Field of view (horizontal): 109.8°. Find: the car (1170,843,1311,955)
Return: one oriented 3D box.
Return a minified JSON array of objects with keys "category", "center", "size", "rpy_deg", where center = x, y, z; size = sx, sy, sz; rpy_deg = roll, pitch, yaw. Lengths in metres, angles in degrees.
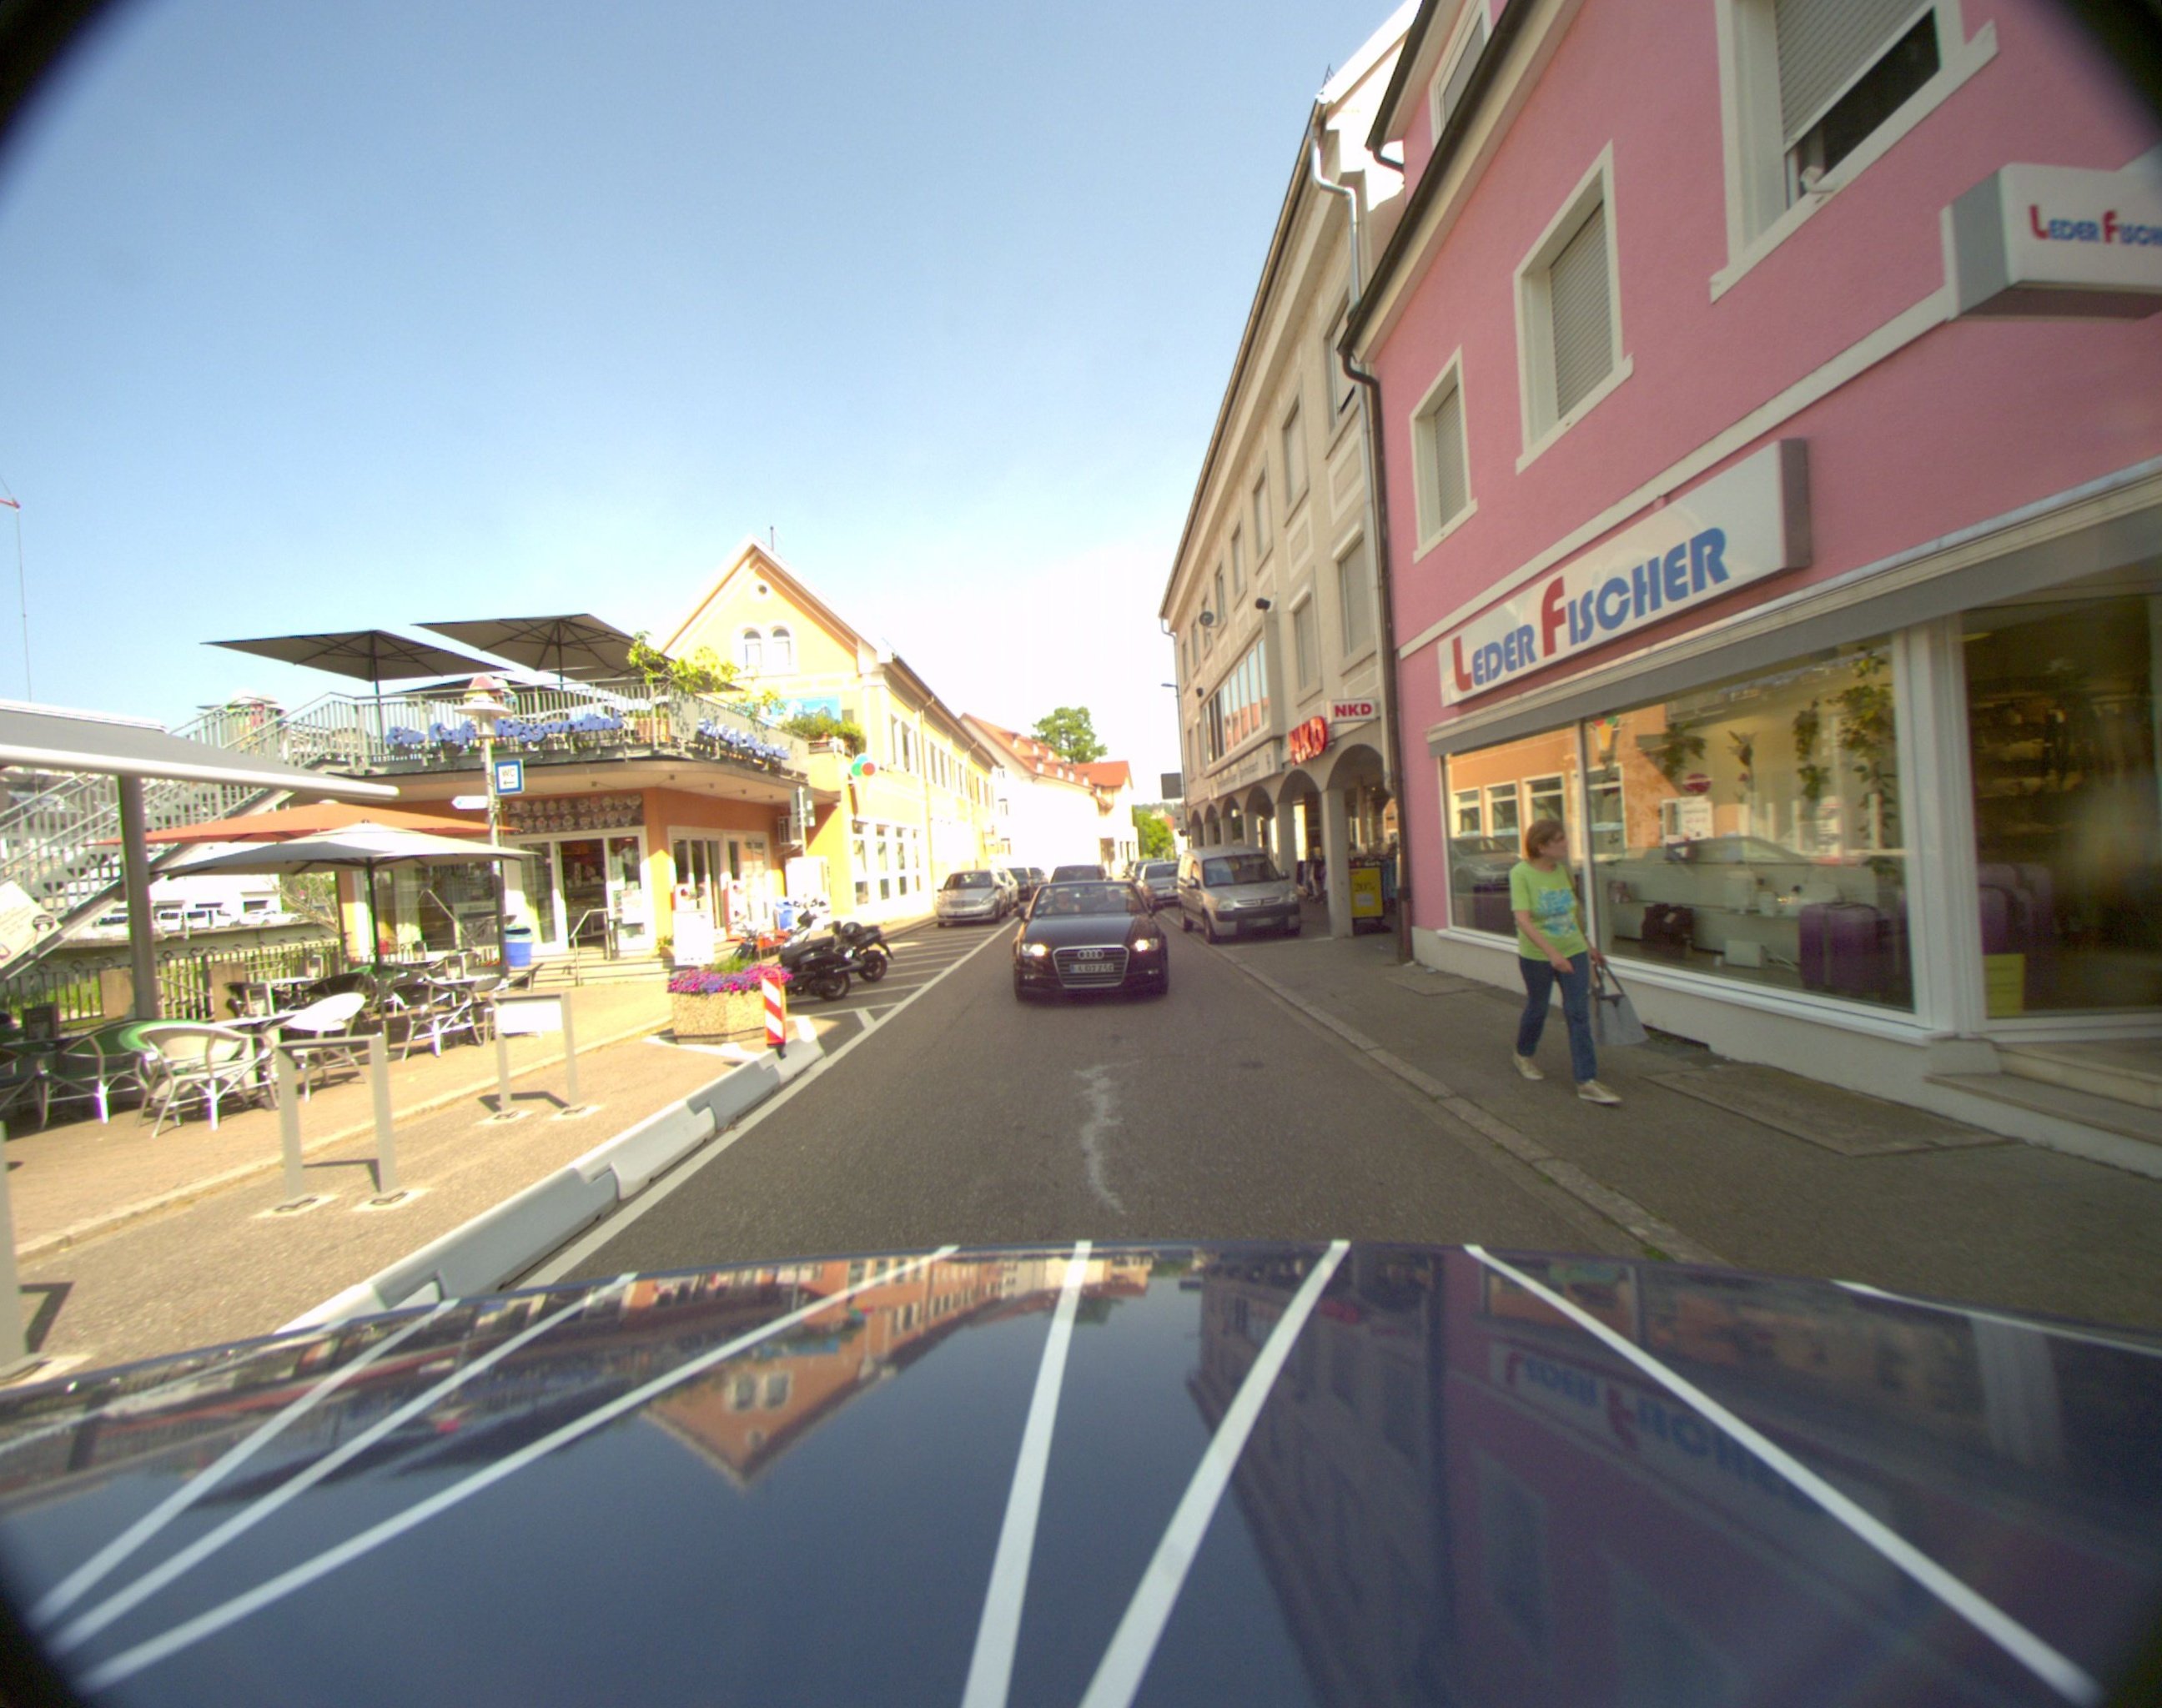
[{"category":"car","center":[2.927,0.776,14.850],"size":[1.711,1.729,4.146],"rpy_deg":[-5,0,-1]}]

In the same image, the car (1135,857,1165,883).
[{"category":"car","center":[4.953,1.103,53.986],"size":[1.682,1.658,3.974],"rpy_deg":[-3,0,10]}]

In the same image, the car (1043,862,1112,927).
[{"category":"car","center":[-0.022,1.066,21.419],"size":[1.683,1.551,3.972],"rpy_deg":[-3,0,2]}]

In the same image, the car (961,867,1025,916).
[{"category":"car","center":[-3.226,1.342,28.453],"size":[1.683,1.549,4.104],"rpy_deg":[-4,0,2]}]

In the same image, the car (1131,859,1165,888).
[{"category":"car","center":[3.939,1.106,45.265],"size":[1.769,1.551,3.972],"rpy_deg":[-3,0,2]}]

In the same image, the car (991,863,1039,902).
[{"category":"car","center":[-3.023,1.303,35.754],"size":[1.683,1.635,4.252],"rpy_deg":[-2,0,2]}]

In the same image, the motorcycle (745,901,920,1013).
[{"category":"motorcycle","center":[-3.472,1.370,10.707],"size":[2.094,1.262,0.927],"rpy_deg":[-3,0,-39]}]

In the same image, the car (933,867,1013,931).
[{"category":"car","center":[-3.162,1.276,23.132],"size":[1.750,1.587,4.594],"rpy_deg":[-4,0,-1]}]

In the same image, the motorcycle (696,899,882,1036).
[{"category":"motorcycle","center":[-3.548,1.307,9.287],"size":[1.903,1.350,0.915],"rpy_deg":[-3,0,-34]}]

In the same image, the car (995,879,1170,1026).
[{"category":"car","center":[0.083,1.093,9.967],"size":[1.755,1.348,4.200],"rpy_deg":[-2,0,2]}]

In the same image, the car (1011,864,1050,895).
[{"category":"car","center":[-2.705,1.369,41.766],"size":[1.683,1.531,4.187],"rpy_deg":[-2,0,2]}]

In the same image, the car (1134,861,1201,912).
[{"category":"car","center":[2.859,1.033,26.022],"size":[1.807,1.461,4.455],"rpy_deg":[-4,0,1]}]

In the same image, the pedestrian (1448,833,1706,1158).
[{"category":"pedestrian","center":[2.777,0.740,4.368],"size":[0.787,1.622,0.859],"rpy_deg":[-6,0,3]}]

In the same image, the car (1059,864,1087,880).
[{"category":"car","center":[-0.640,1.485,63.617],"size":[1.526,1.236,4.038],"rpy_deg":[-3,0,11]}]

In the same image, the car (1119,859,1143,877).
[{"category":"car","center":[4.605,1.263,69.324],"size":[1.681,1.551,3.344],"rpy_deg":[-3,0,10]}]
